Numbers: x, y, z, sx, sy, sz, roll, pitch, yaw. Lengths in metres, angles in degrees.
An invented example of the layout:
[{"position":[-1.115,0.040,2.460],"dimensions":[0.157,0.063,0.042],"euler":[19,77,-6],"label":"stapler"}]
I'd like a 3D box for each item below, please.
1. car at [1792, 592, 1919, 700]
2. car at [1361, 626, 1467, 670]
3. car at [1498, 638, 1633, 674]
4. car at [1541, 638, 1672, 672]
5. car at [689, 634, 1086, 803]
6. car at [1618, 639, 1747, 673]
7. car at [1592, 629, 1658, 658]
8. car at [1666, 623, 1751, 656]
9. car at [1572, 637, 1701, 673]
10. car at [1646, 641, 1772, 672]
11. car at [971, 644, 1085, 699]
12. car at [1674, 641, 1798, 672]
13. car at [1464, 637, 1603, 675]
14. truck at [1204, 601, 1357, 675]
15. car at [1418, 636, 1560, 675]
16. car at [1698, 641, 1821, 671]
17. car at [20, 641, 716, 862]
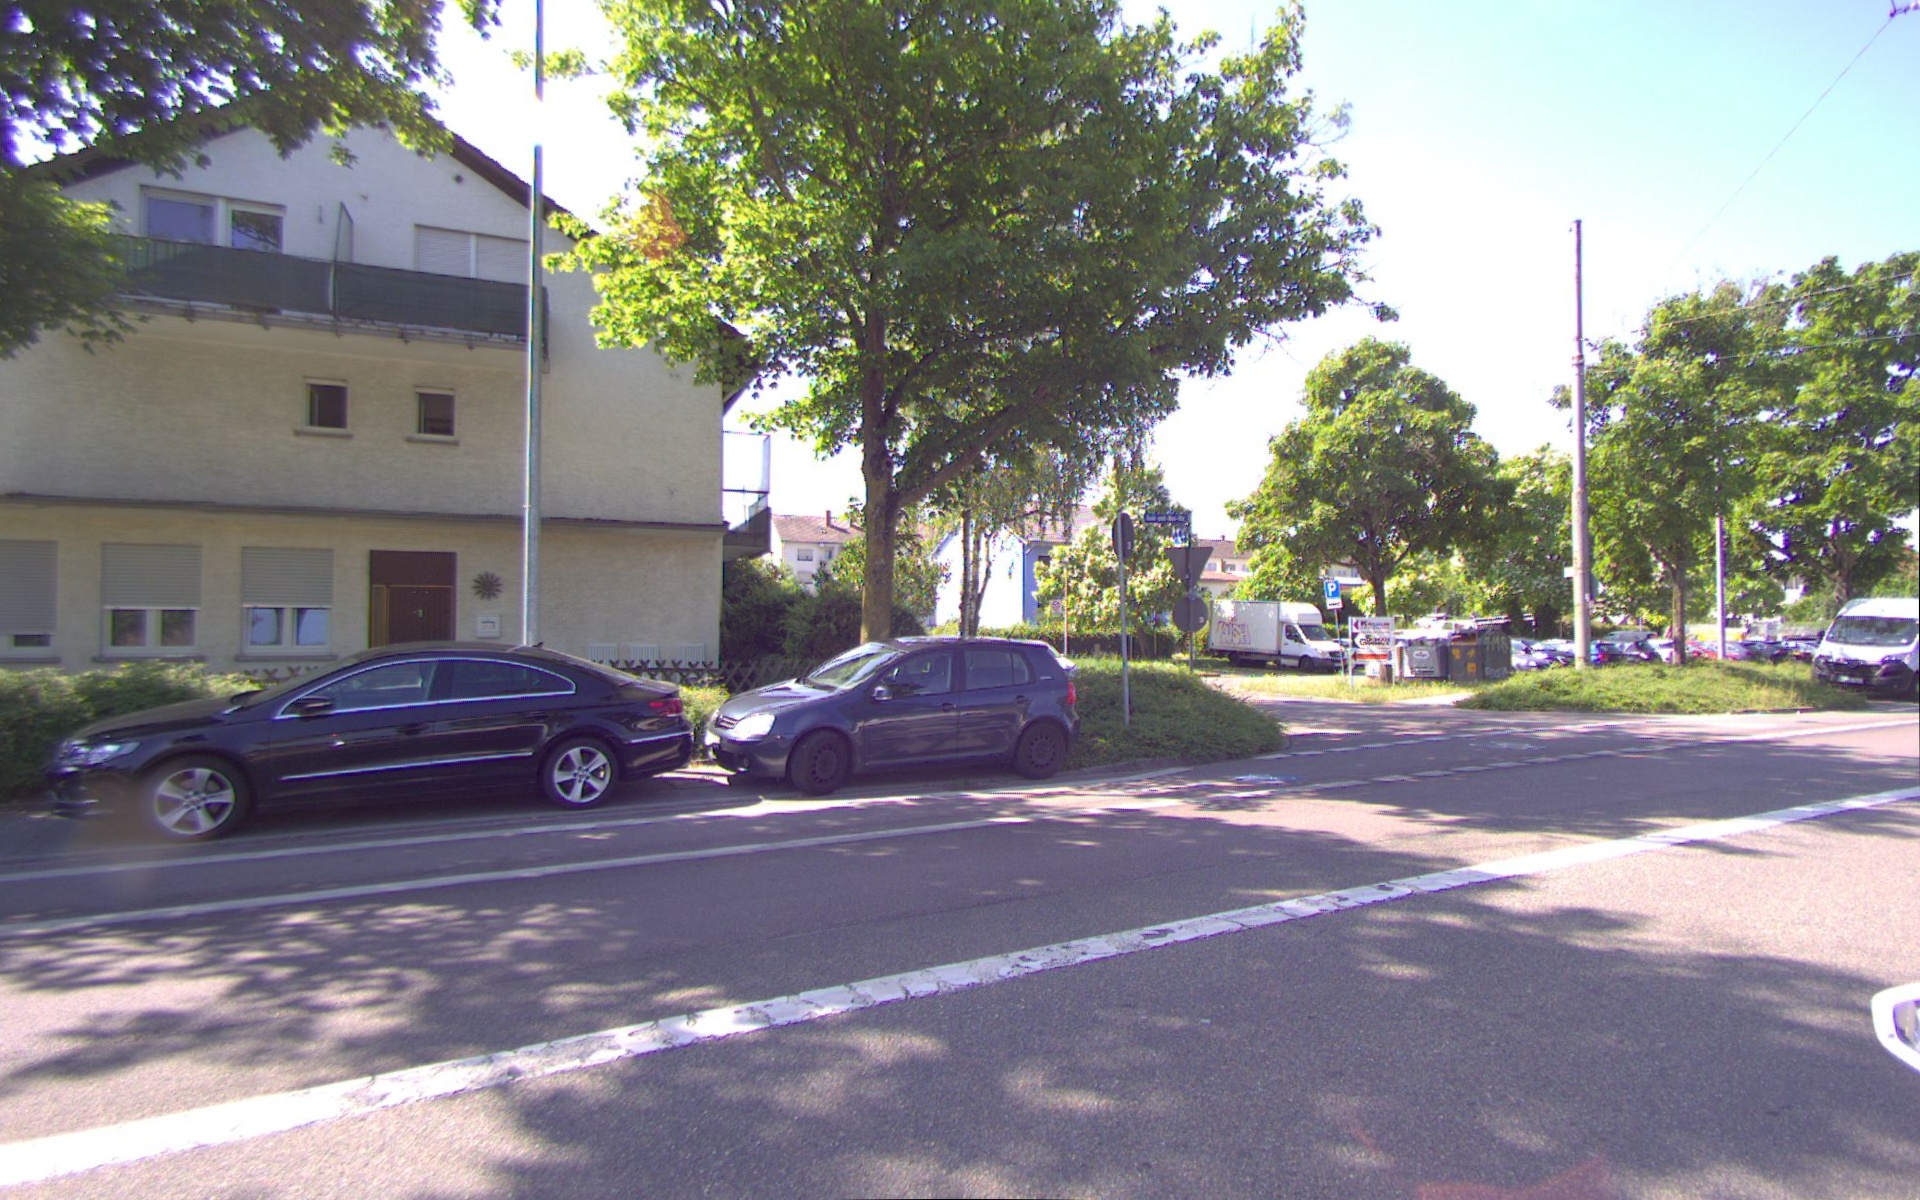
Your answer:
[{"position":[24.450,1.137,26.136],"dimensions":[6.227,2.534,2.050],"euler":[1,1,-28],"label":"car"},{"position":[23.554,2.455,52.250],"dimensions":[1.980,2.040,4.663],"euler":[2,0,-34],"label":"car"},{"position":[22.383,2.045,37.268],"dimensions":[1.748,1.241,3.973],"euler":[1,-2,-27],"label":"car"},{"position":[25.095,2.121,39.111],"dimensions":[1.748,1.241,3.973],"euler":[1,-2,-27],"label":"car"},{"position":[-0.730,1.150,10.832],"dimensions":[3.956,1.470,1.634],"euler":[1,0,-29],"label":"car"},{"position":[29.590,2.263,41.266],"dimensions":[1.748,1.281,3.973],"euler":[1,-2,-27],"label":"car"},{"position":[45.536,2.977,68.823],"dimensions":[1.535,1.901,3.406],"euler":[1,-2,-31],"label":"car"},{"position":[51.289,2.692,68.888],"dimensions":[1.980,2.040,4.228],"euler":[2,0,-35],"label":"car"},{"position":[27.181,2.193,40.489],"dimensions":[1.748,1.368,3.973],"euler":[1,-2,-27],"label":"car"},{"position":[31.757,2.357,42.701],"dimensions":[1.748,1.241,3.973],"euler":[1,-2,-27],"label":"car"},{"position":[1.871,1.988,28.797],"dimensions":[1.687,1.437,3.979],"euler":[1,-2,-23],"label":"car"},{"position":[33.910,2.448,44.002],"dimensions":[1.748,1.241,3.973],"euler":[1,-2,-27],"label":"car"},{"position":[20.282,1.952,35.700],"dimensions":[1.751,1.241,3.967],"euler":[1,-2,-31],"label":"car"},{"position":[14.843,1.681,47.150],"dimensions":[2.206,3.059,7.103],"euler":[1,1,-31],"label":"truck"},{"position":[18.033,1.864,34.413],"dimensions":[1.751,1.241,3.967],"euler":[1,-2,-31],"label":"car"},{"position":[35.863,2.479,45.161],"dimensions":[1.748,1.241,3.973],"euler":[1,-2,-27],"label":"car"},{"position":[-4.678,1.093,8.671],"dimensions":[4.727,1.398,1.682],"euler":[1,0,-31],"label":"car"}]
